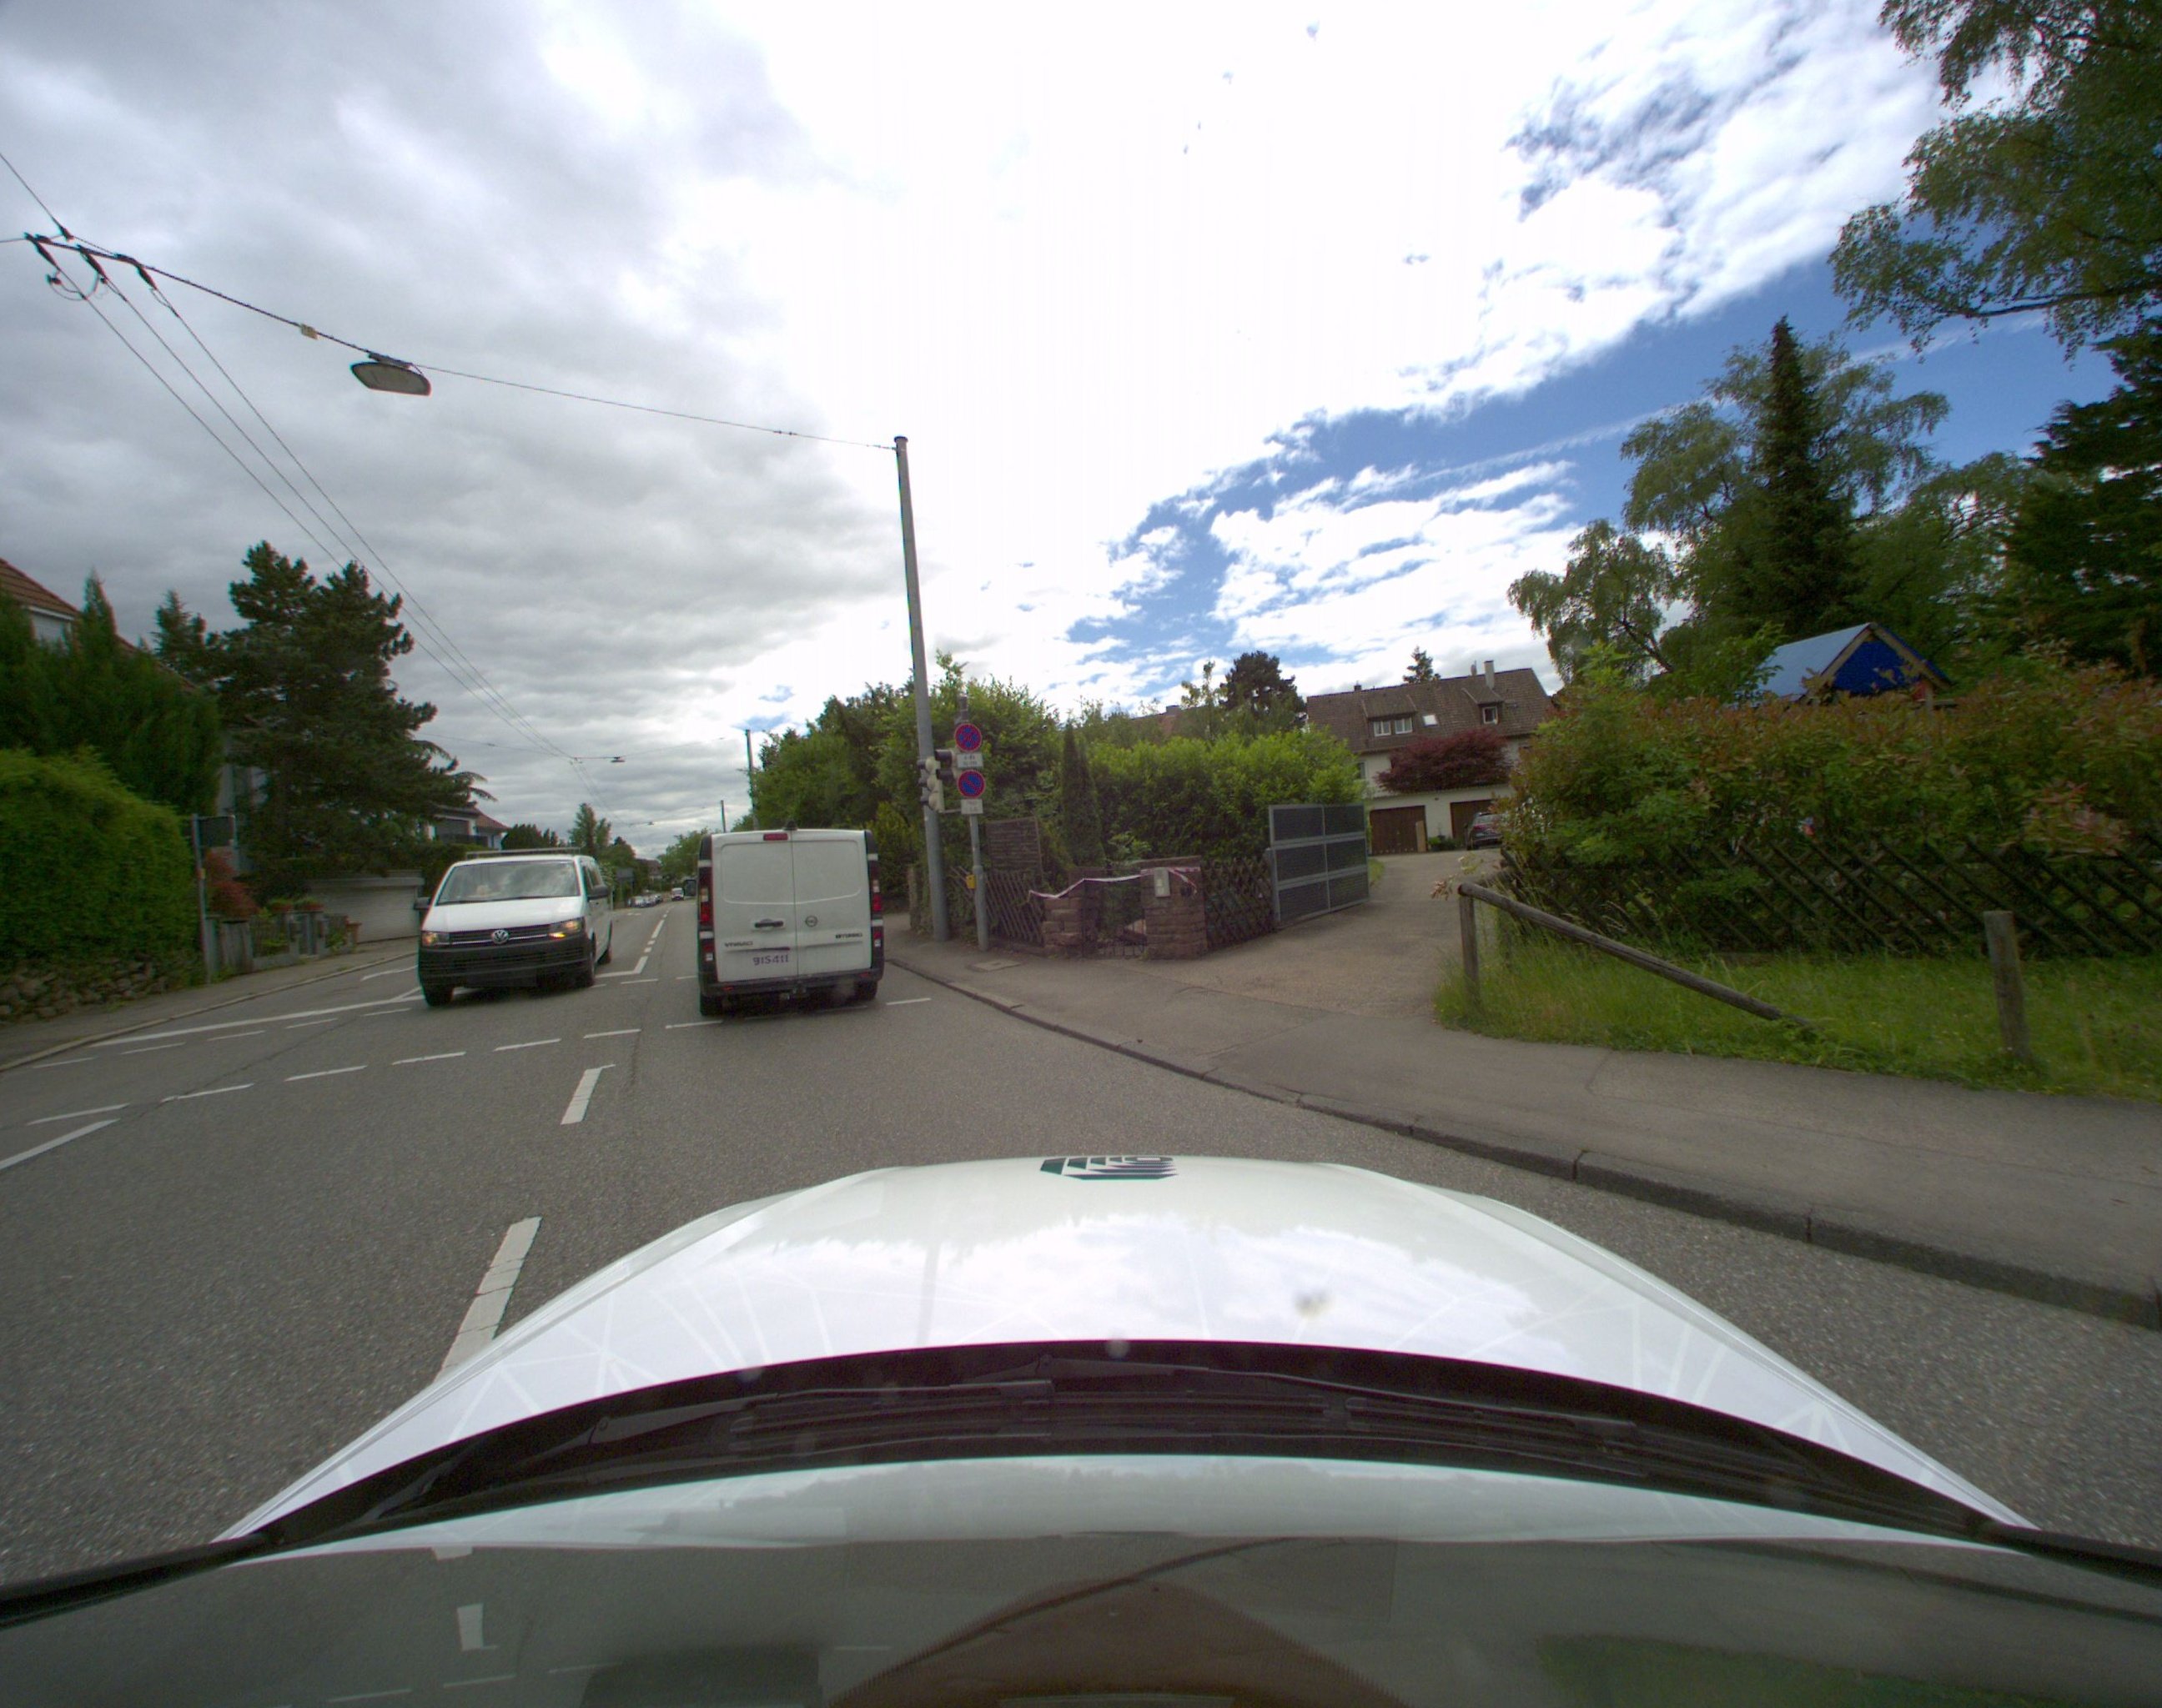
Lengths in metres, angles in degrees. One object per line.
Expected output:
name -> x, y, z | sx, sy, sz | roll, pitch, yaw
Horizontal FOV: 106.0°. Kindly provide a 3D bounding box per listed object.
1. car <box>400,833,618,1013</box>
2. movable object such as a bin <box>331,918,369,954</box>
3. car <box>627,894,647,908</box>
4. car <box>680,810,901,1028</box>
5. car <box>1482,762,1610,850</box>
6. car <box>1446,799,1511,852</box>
car -> -8.411, 0.892, 12.500 | 1.869, 2.047, 5.125 | -5, 0, -27
movable object such as a bin -> -21.117, 2.355, 23.540 | 0.462, 0.942, 0.647 | -4, 0, 2
car -> -52.716, 5.552, 96.769 | 1.820, 1.455, 4.374 | -7, 0, -27
car -> -3.850, 0.646, 10.409 | 2.016, 2.038, 4.969 | -2, -1, -24
car -> 12.915, -1.244, 22.942 | 1.978, 2.013, 4.303 | -7, -1, 16
car -> 15.677, -1.061, 32.251 | 1.583, 1.511, 3.614 | -7, -7, 16
